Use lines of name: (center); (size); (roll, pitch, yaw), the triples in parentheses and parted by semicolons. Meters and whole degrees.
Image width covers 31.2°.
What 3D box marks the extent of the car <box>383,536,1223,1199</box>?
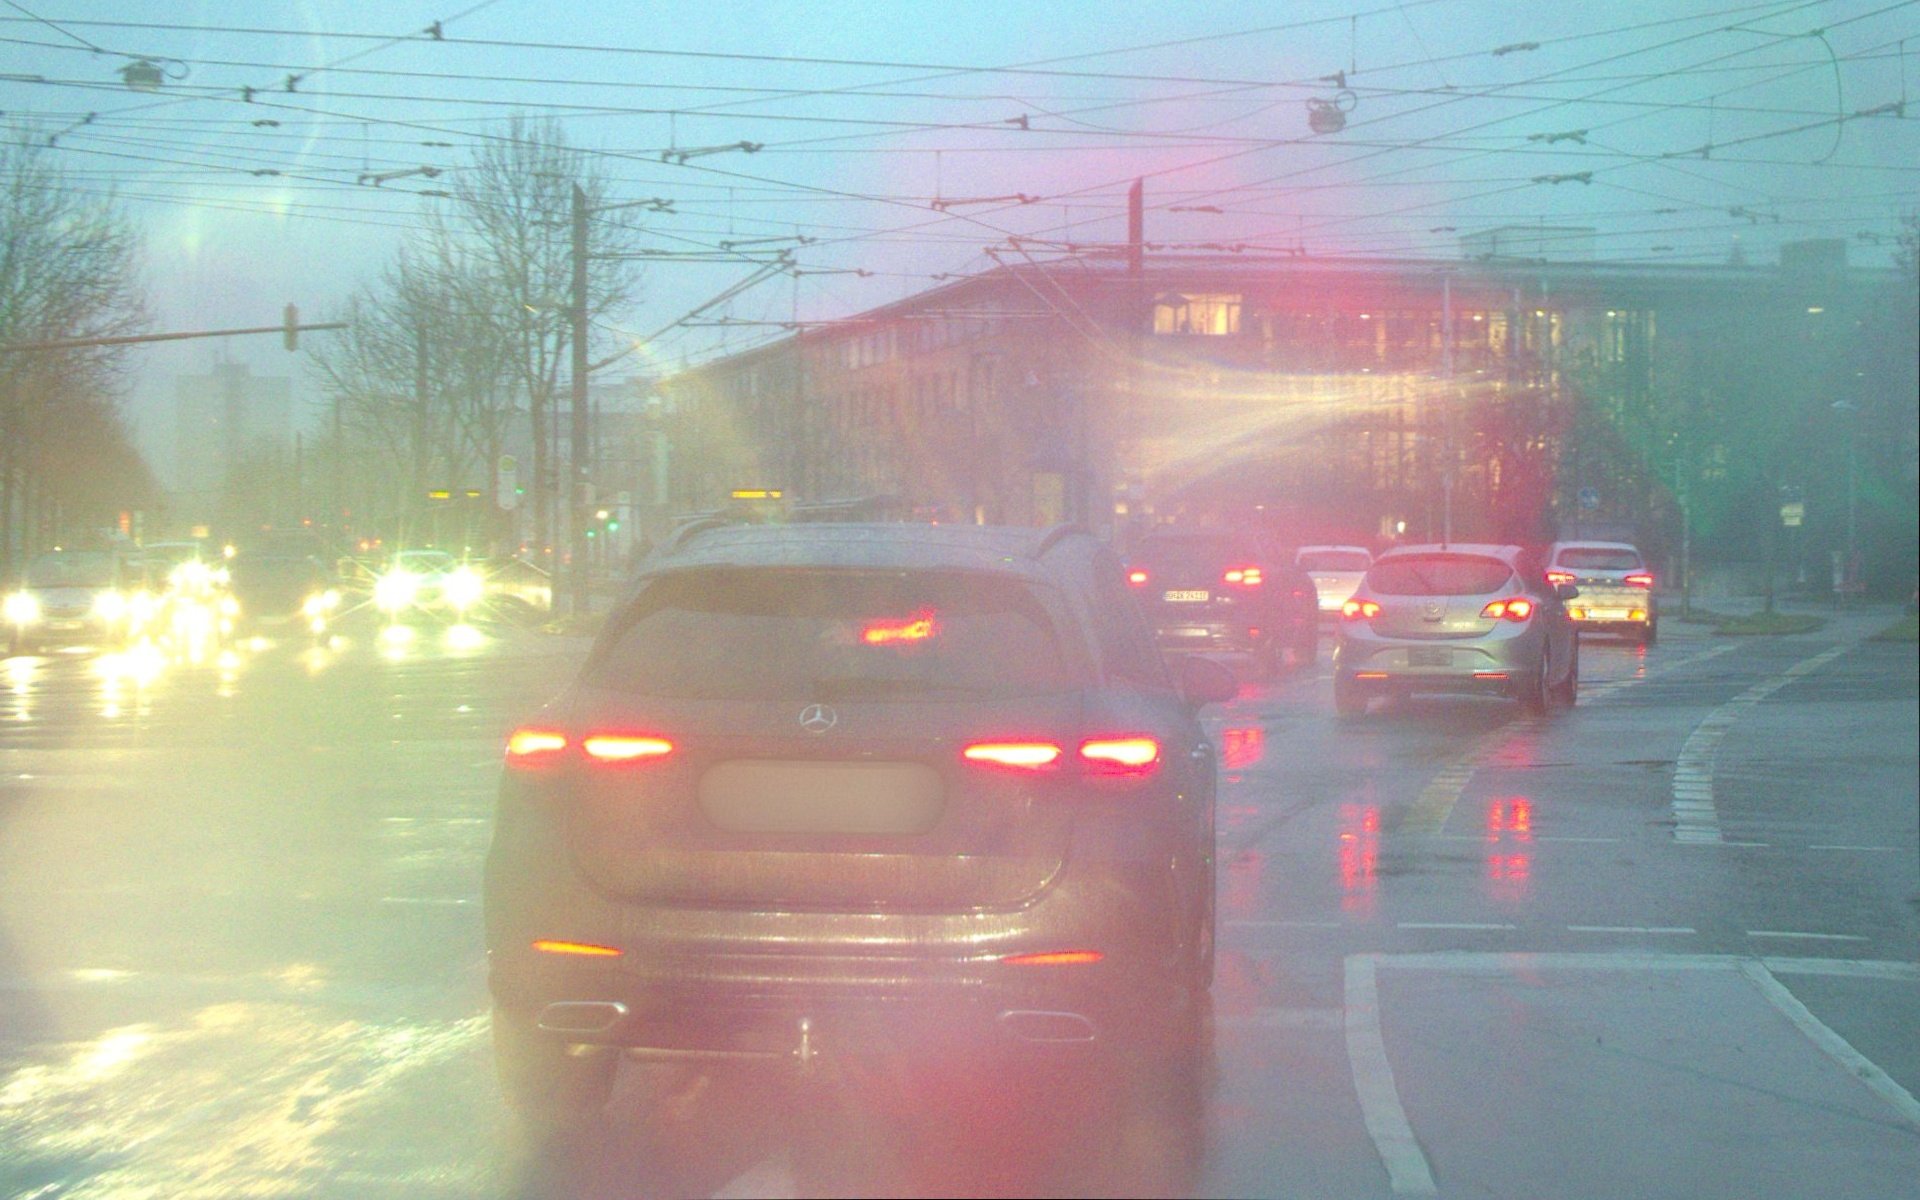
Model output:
car: (-0.360, 0.622, 10.176); (1.991, 1.610, 4.000); (0, 1, 0)

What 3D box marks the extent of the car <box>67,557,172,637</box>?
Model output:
car: (-15.059, -0.083, 61.718); (1.679, 1.387, 3.615); (0, 1, -11)

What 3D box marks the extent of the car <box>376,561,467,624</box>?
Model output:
car: (-11.411, -0.178, 72.697); (1.536, 1.241, 4.088); (-1, 1, -14)

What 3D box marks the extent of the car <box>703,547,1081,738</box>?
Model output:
car: (-0.450, 0.282, 27.541); (1.995, 1.393, 3.997); (0, 1, 15)

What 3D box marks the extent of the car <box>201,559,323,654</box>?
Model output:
car: (-11.145, 0.073, 55.088); (1.679, 1.452, 4.064); (0, 1, -8)

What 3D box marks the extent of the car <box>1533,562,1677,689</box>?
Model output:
car: (9.511, 0.340, 50.801); (1.994, 1.759, 3.998); (0, 1, 10)

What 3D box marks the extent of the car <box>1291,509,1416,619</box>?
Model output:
car: (6.582, -0.620, 57.202); (1.994, 1.759, 3.999); (0, 1, 8)

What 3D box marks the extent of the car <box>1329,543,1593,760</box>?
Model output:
car: (4.493, 0.391, 30.361); (1.995, 1.759, 3.998); (0, 1, 13)
